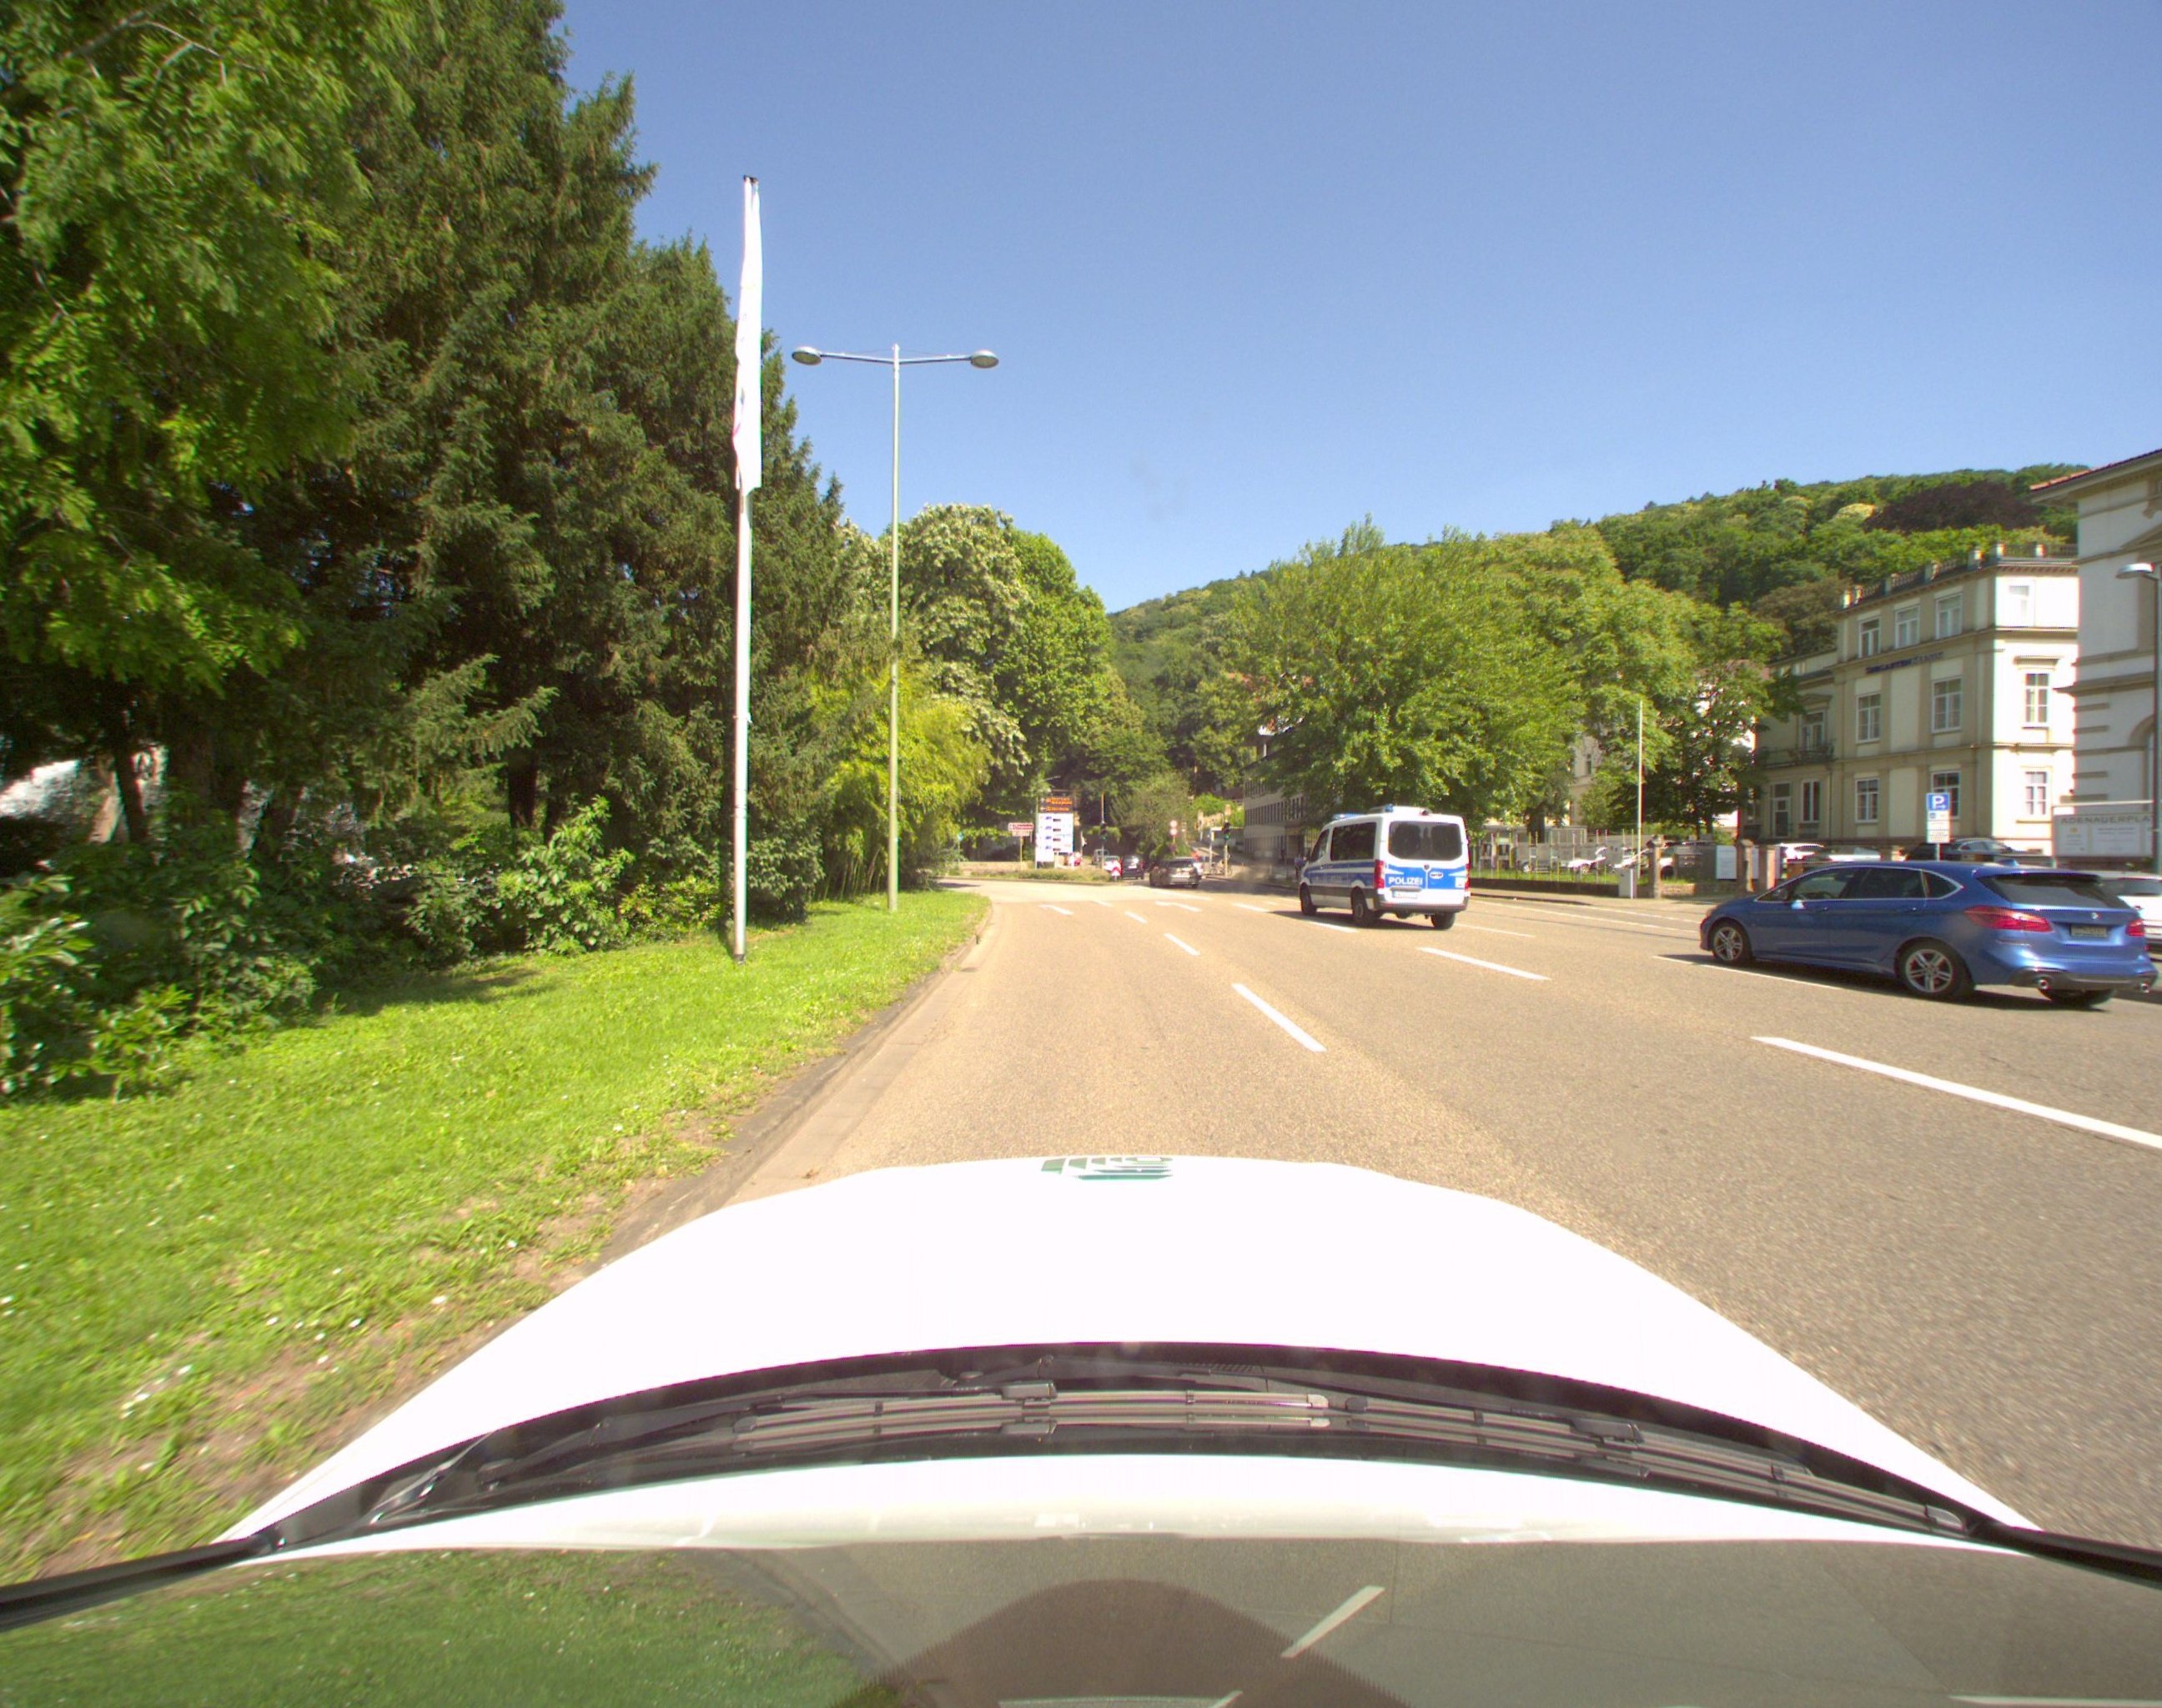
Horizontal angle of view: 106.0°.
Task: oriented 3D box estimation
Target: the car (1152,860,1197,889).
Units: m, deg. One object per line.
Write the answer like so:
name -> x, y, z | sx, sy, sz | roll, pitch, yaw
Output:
car -> 4.497, 0.964, 39.676 | 1.750, 1.334, 3.801 | 1, 0, 0

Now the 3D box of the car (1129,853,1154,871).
car -> 5.280, 0.666, 71.151 | 1.752, 1.461, 3.641 | 1, 0, -3

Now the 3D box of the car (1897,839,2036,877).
car -> 36.719, 0.153, 33.819 | 4.043, 1.509, 1.862 | 0, 0, -6

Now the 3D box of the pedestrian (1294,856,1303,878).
pedestrian -> 14.121, 0.835, 52.821 | 0.485, 1.458, 0.738 | -1, -1, 21

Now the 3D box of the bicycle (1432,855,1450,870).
bicycle -> 26.762, 0.591, 60.524 | 0.536, 1.085, 1.834 | 0, 0, -1

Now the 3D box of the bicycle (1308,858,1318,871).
bicycle -> 18.281, 0.815, 64.160 | 0.404, 0.941, 1.340 | 0, 0, -2

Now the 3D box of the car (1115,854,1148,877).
car -> 3.231, 0.725, 53.106 | 1.752, 1.461, 3.490 | 1, 0, -3

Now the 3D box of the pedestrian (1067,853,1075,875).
pedestrian -> -0.757, 0.767, 60.891 | 0.544, 1.621, 0.635 | 0, 0, 6

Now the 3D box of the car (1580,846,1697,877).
car -> 24.540, 0.306, 35.926 | 4.079, 1.336, 1.818 | 0, 0, -6

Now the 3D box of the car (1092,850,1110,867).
car -> 2.263, 0.501, 92.080 | 1.752, 1.938, 3.490 | 1, 0, -3

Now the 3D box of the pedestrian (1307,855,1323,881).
pedestrian -> 15.256, 0.886, 53.054 | 0.769, 1.663, 0.829 | 1, 0, -2

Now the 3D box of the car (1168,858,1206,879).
car -> 6.555, 0.892, 50.856 | 1.752, 1.213, 3.490 | 1, 0, -3

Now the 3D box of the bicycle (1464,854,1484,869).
bicycle -> 29.227, 0.578, 60.583 | 0.536, 1.085, 1.834 | 0, 0, -1

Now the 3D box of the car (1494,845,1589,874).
car -> 24.437, 0.282, 43.259 | 4.140, 1.476, 1.873 | 0, 0, -8

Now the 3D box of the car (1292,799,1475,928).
car -> 6.571, 0.200, 18.383 | 2.069, 2.508, 4.923 | 1, 0, -3

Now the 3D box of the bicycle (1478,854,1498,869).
bicycle -> 30.423, 0.571, 60.889 | 0.536, 1.085, 1.834 | 0, 0, -1

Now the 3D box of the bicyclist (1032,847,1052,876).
bicyclist -> -2.639, 0.523, 55.051 | 1.116, 1.932, 0.752 | 0, -1, 22

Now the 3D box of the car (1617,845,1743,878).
car -> 24.805, 0.290, 33.792 | 4.034, 1.336, 1.857 | 0, 0, -6

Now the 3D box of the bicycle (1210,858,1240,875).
bicycle -> 10.073, 0.876, 57.113 | 2.064, 1.112, 0.759 | 0, 0, 9

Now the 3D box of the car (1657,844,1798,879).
car -> 24.926, 0.275, 31.483 | 4.034, 1.336, 1.988 | 0, 0, -6

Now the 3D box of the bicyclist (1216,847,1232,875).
bicyclist -> 10.019, 0.483, 57.120 | 1.119, 1.932, 0.750 | 0, -1, 9

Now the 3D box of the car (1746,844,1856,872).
car -> 35.575, 0.197, 40.294 | 4.070, 1.336, 1.818 | 0, 0, -6

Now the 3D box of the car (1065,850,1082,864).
car -> -0.813, 0.362, 88.312 | 1.752, 1.461, 3.490 | 1, 0, -3

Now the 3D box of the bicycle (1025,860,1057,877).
bicycle -> -2.703, 0.954, 55.074 | 2.058, 1.112, 0.761 | 0, 0, 22

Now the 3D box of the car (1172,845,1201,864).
car -> 9.709, 0.014, 75.130 | 1.927, 1.697, 3.995 | 0, 0, -3

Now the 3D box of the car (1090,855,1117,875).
car -> 1.704, 0.787, 61.577 | 1.752, 1.461, 3.641 | 1, 0, -3

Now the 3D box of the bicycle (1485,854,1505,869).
bicycle -> 31.020, 0.569, 60.977 | 0.536, 1.085, 1.834 | 0, 0, -1

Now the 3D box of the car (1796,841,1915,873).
car -> 35.772, 0.140, 37.654 | 4.043, 1.419, 1.818 | 0, 0, -6

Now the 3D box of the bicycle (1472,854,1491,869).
bicycle -> 29.838, 0.575, 60.681 | 0.536, 1.085, 1.834 | 0, 0, -1

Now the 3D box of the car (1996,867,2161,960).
car -> 19.057, 1.026, 15.347 | 1.691, 1.511, 3.835 | 1, 0, 37

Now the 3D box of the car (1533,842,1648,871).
car -> 23.999, 0.127, 38.450 | 4.459, 1.336, 1.818 | 0, 0, -6

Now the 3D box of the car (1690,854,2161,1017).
car -> 10.088, 0.810, 10.159 | 1.714, 1.541, 4.269 | 1, 0, -1
